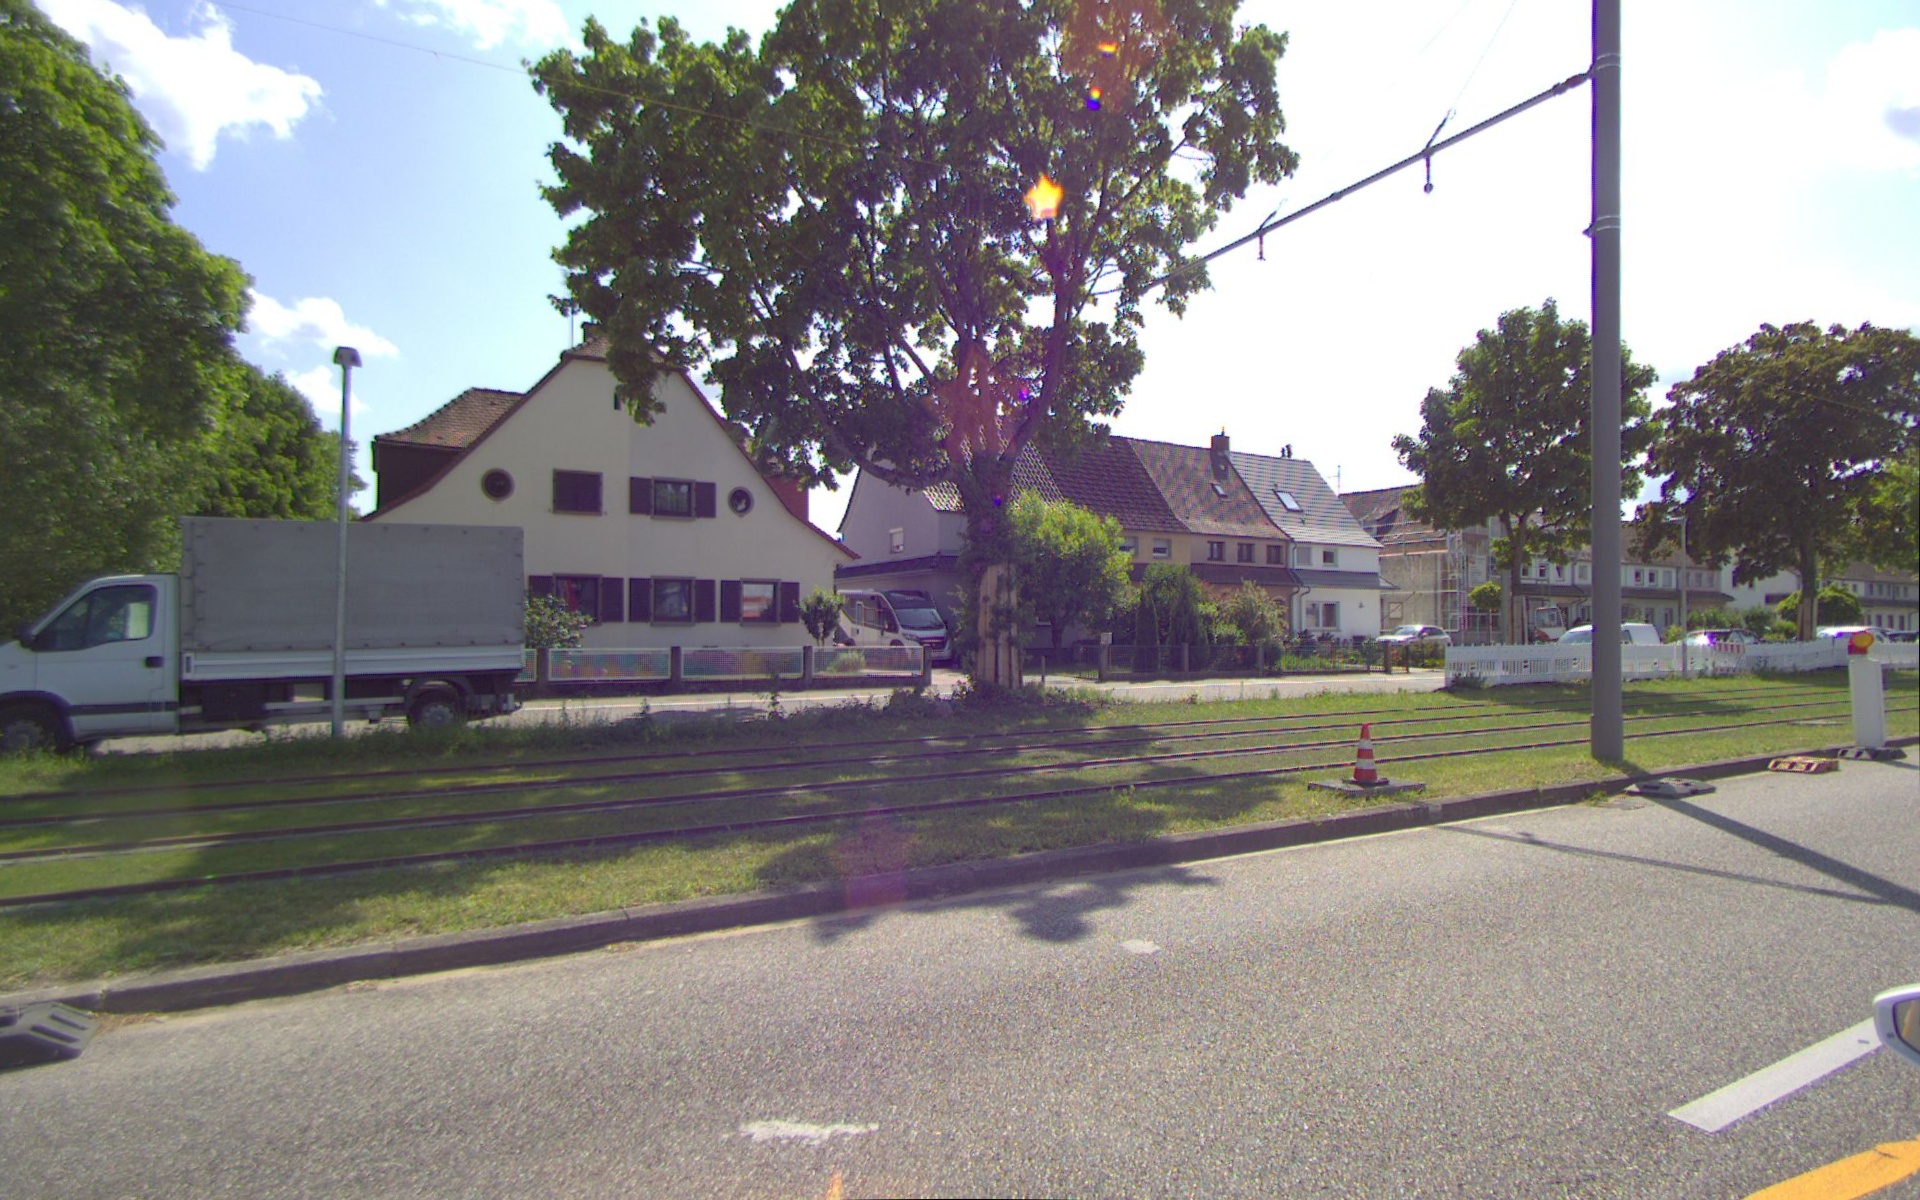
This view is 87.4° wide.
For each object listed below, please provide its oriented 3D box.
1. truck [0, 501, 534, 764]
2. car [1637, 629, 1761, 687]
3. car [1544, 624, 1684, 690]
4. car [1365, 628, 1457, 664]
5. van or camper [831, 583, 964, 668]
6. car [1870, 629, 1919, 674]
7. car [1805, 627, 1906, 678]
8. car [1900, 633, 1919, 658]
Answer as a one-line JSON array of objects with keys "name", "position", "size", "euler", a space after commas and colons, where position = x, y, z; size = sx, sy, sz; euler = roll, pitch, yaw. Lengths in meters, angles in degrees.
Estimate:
[{"name": "truck", "position": [-8.840, 0.409, 12.966], "size": [5.906, 2.817, 2.255], "euler": [1, -2, -31]}, {"name": "car", "position": [24.284, 1.849, 32.998], "size": [4.177, 1.797, 1.768], "euler": [1, -2, -30]}, {"name": "car", "position": [19.565, 1.646, 30.019], "size": [4.312, 1.845, 1.768], "euler": [1, -2, -30]}, {"name": "car", "position": [19.983, 1.994, 44.492], "size": [3.952, 1.539, 1.768], "euler": [1, -2, -30]}, {"name": "van or camper", "position": [-2.402, 0.944, 36.635], "size": [2.269, 2.801, 6.051], "euler": [1, -2, -32]}, {"name": "car", "position": [40.639, 2.166, 42.694], "size": [4.079, 1.829, 1.768], "euler": [1, -2, -30]}, {"name": "car", "position": [35.355, 2.032, 39.638], "size": [4.079, 1.892, 1.768], "euler": [1, -2, -30]}, {"name": "car", "position": [70.023, 3.303, 72.745], "size": [4.079, 1.745, 1.768], "euler": [1, -2, -30]}]
